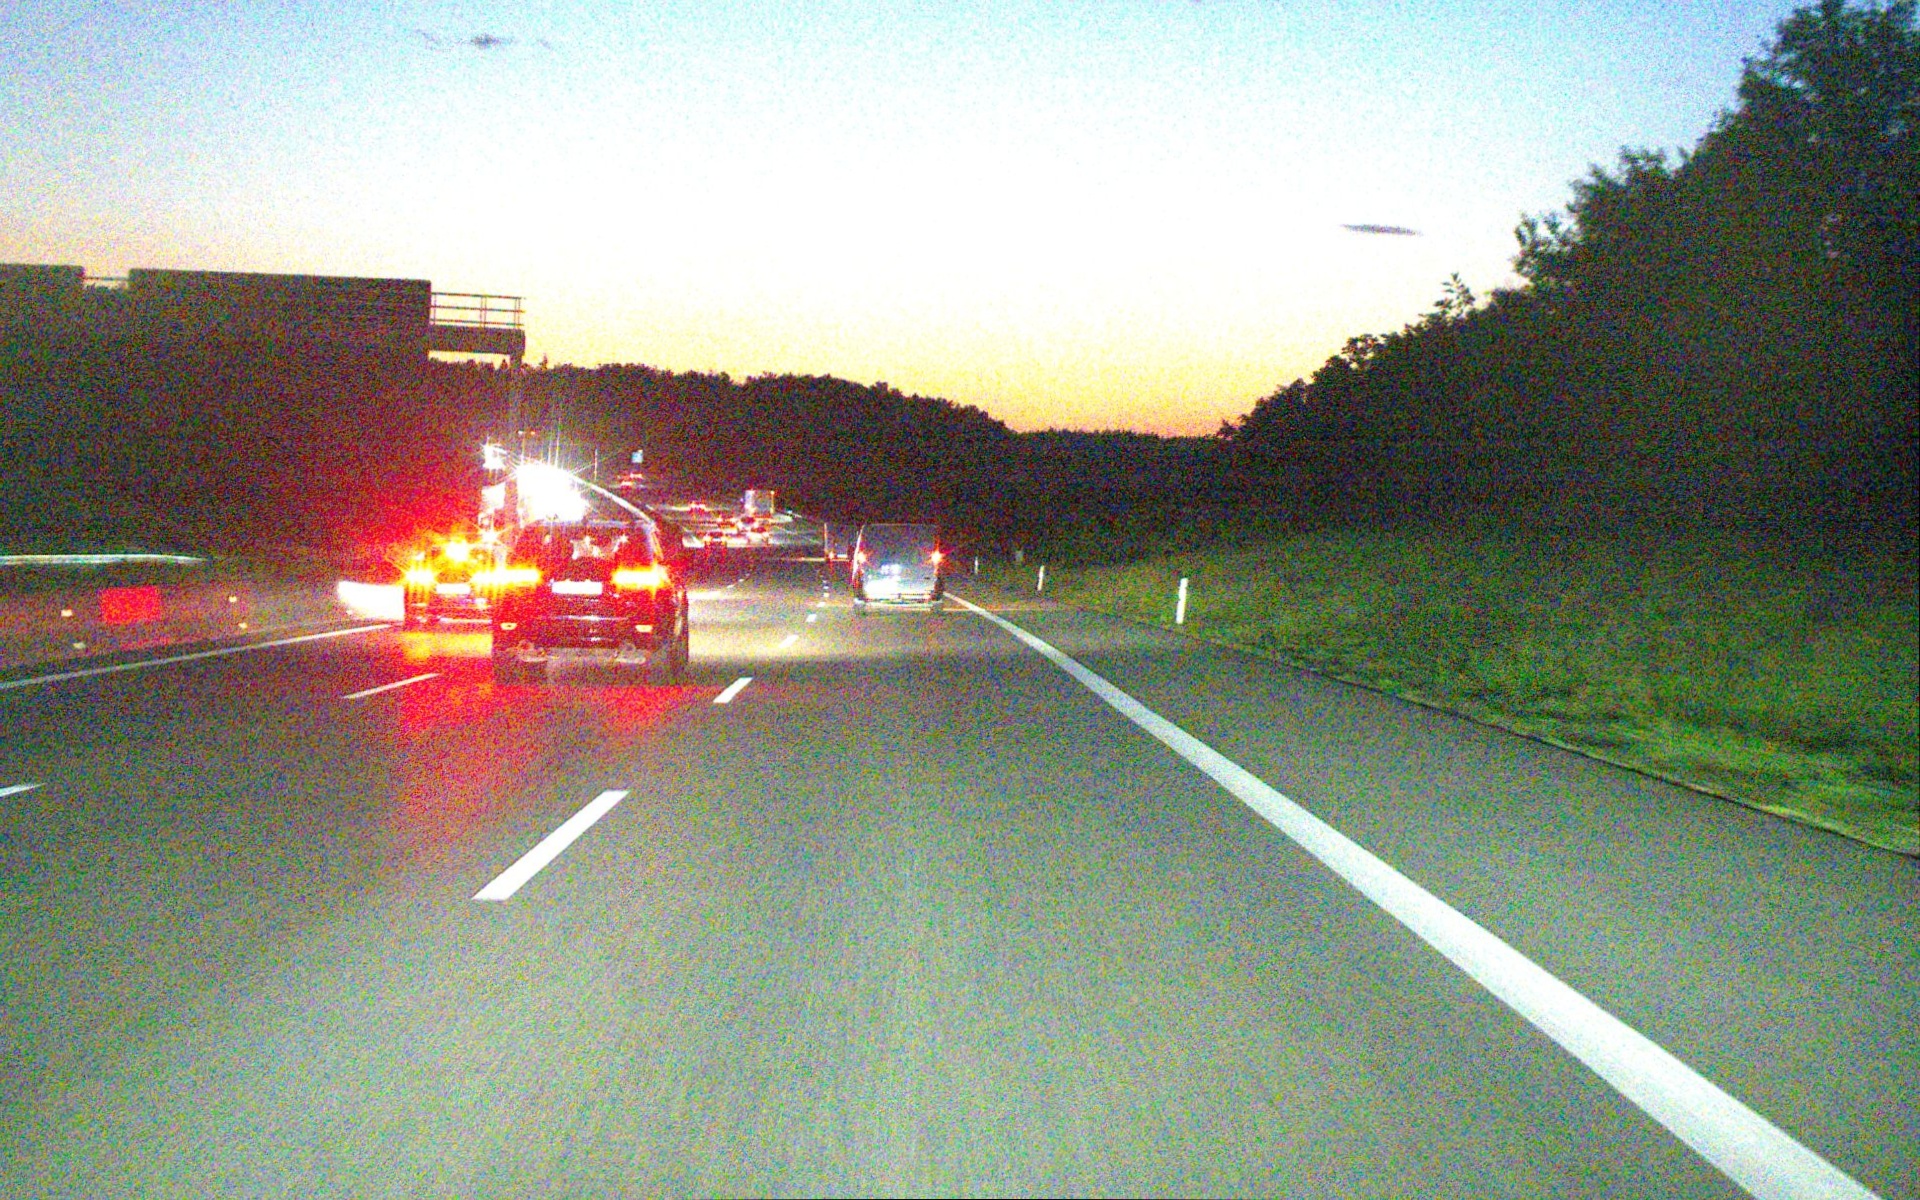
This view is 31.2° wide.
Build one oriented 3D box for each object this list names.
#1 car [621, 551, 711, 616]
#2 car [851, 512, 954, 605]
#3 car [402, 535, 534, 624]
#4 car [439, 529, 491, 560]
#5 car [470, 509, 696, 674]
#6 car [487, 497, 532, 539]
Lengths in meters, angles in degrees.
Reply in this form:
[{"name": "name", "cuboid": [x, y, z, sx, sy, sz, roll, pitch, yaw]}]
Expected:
[{"name": "car", "cuboid": [-7.824, -0.464, 91.756, 1.780, 1.481, 5.254, 4, 2, 1]}, {"name": "car", "cuboid": [-1.307, -0.953, 76.199, 2.196, 1.948, 4.764, 0, 2, -2]}, {"name": "car", "cuboid": [-8.319, -0.373, 58.524, 1.549, 1.426, 5.515, 0, 1, -1]}, {"name": "car", "cuboid": [-24.724, -2.774, 171.891, 1.993, 1.504, 5.186, 1, 1, -2]}, {"name": "car", "cuboid": [-4.158, -0.134, 38.855, 1.993, 1.715, 5.943, 0, 1, -1]}, {"name": "car", "cuboid": [-32.238, -5.843, 246.156, 2.458, 2.926, 8.334, 1, 1, -2]}]
